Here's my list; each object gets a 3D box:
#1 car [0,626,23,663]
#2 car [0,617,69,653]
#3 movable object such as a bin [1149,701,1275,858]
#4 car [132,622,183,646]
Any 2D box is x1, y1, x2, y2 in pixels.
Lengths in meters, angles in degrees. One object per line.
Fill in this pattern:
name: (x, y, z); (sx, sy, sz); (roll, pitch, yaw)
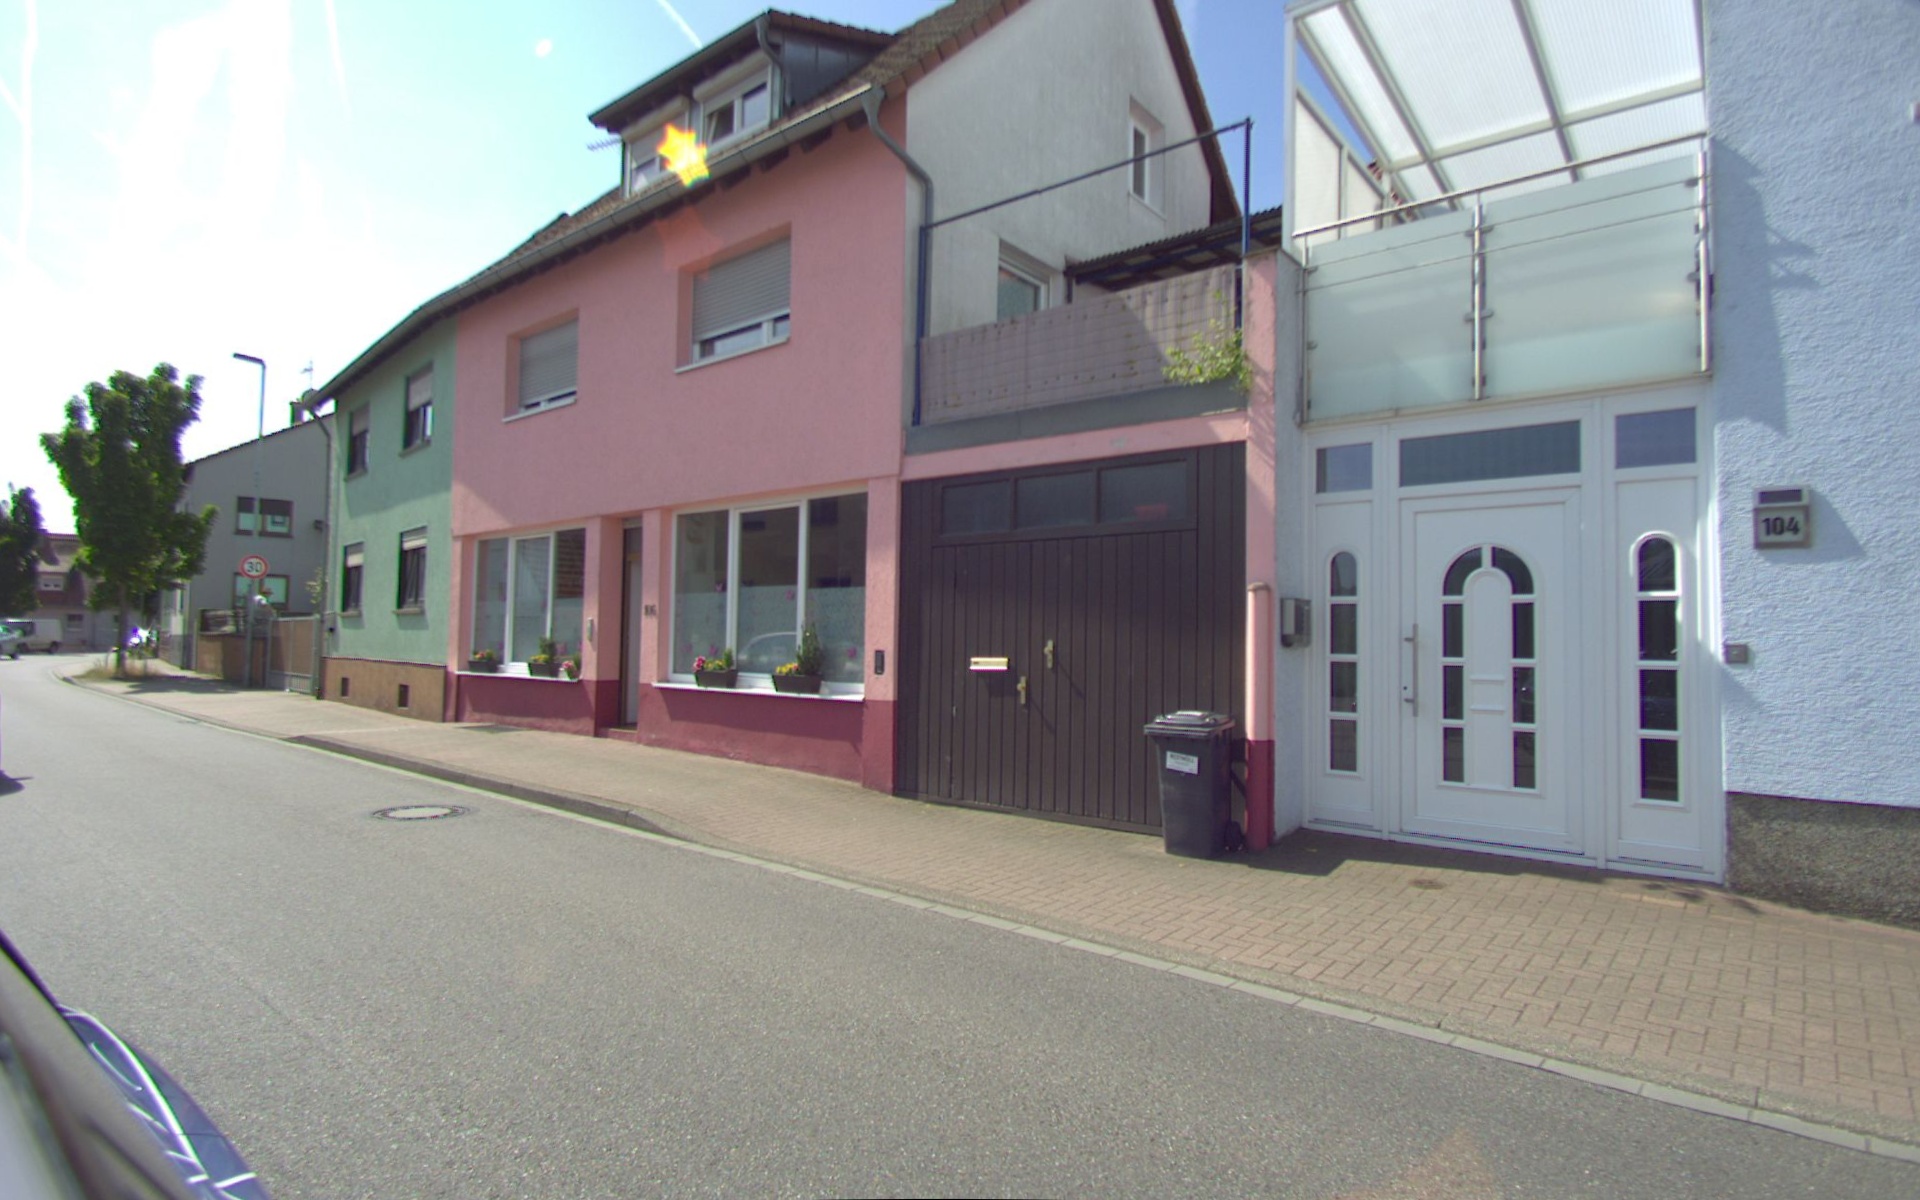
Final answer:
car: (-44.871, 2.059, 46.402); (1.776, 1.639, 4.137); (0, 0, -28)
car: (-52.780, 1.928, 57.300); (1.916, 1.866, 4.524); (0, 0, -19)
movable object such as a bin: (1.685, 1.166, 6.761); (0.599, 0.886, 0.623); (0, 0, 42)
car: (-52.126, 2.199, 65.791); (1.493, 1.419, 3.601); (0, 0, -19)
